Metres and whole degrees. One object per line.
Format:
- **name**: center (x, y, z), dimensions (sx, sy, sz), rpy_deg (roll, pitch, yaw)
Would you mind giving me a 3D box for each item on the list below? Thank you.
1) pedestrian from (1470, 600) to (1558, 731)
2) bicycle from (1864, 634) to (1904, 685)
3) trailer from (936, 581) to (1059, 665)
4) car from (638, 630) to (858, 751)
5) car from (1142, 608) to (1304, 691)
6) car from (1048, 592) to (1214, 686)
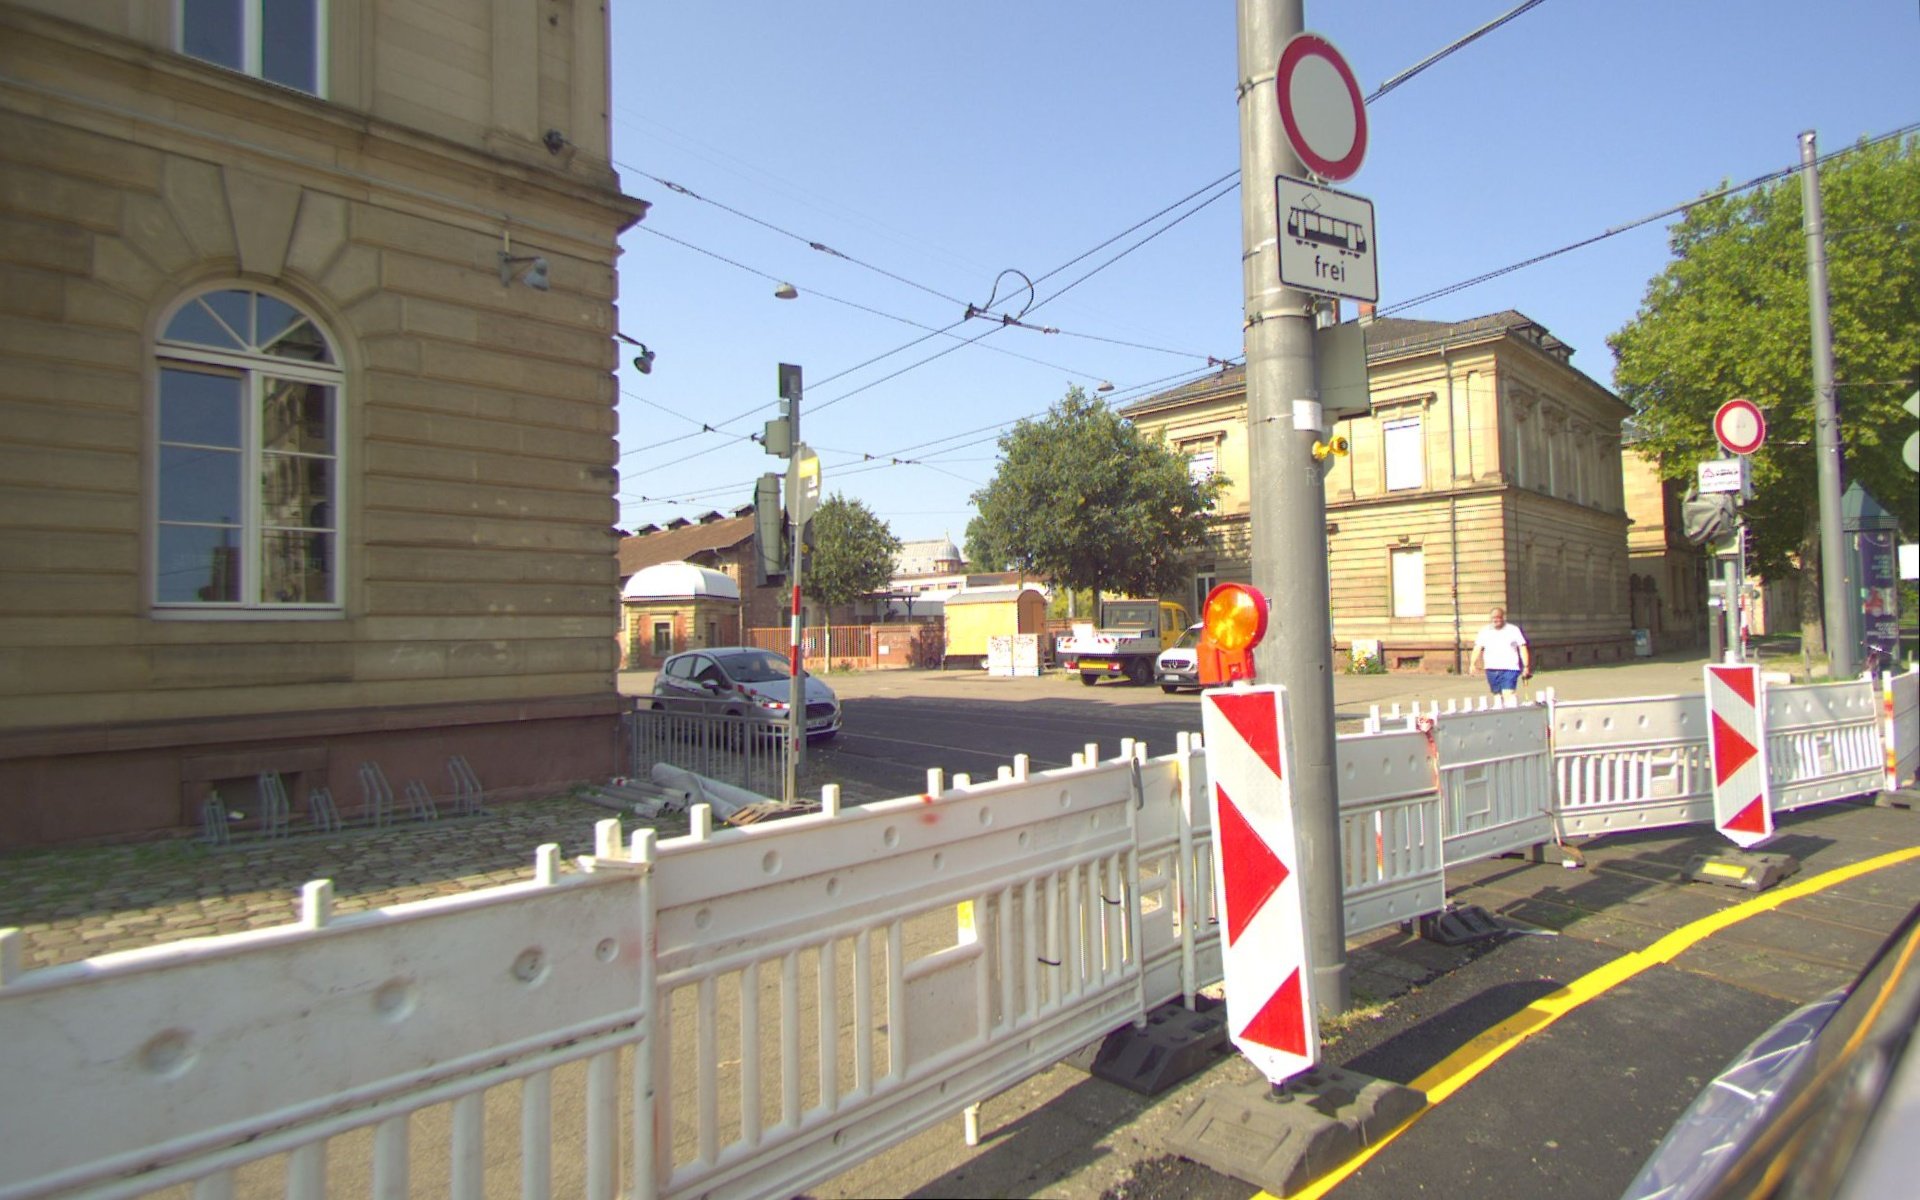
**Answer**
- **pedestrian**: center (7.746, 0.904, 14.157), dimensions (0.866, 1.760, 0.660), rpy_deg (-4, -3, 45)
- **bicycle**: center (20.052, 1.270, 21.947), dimensions (1.545, 1.019, 0.538), rpy_deg (0, -2, -45)
- **trailer**: center (1.433, 0.909, 39.505), dimensions (4.099, 3.087, 2.479), rpy_deg (-2, -2, 39)
- **car**: center (-3.395, 1.282, 15.713), dimensions (1.636, 1.556, 4.005), rpy_deg (0, -1, -40)
- **car**: center (6.696, 1.173, 25.564), dimensions (4.151, 1.805, 1.907), rpy_deg (-2, 0, -41)
- **car**: center (5.059, 1.095, 29.377), dimensions (2.254, 2.454, 5.408), rpy_deg (-3, -3, 40)
